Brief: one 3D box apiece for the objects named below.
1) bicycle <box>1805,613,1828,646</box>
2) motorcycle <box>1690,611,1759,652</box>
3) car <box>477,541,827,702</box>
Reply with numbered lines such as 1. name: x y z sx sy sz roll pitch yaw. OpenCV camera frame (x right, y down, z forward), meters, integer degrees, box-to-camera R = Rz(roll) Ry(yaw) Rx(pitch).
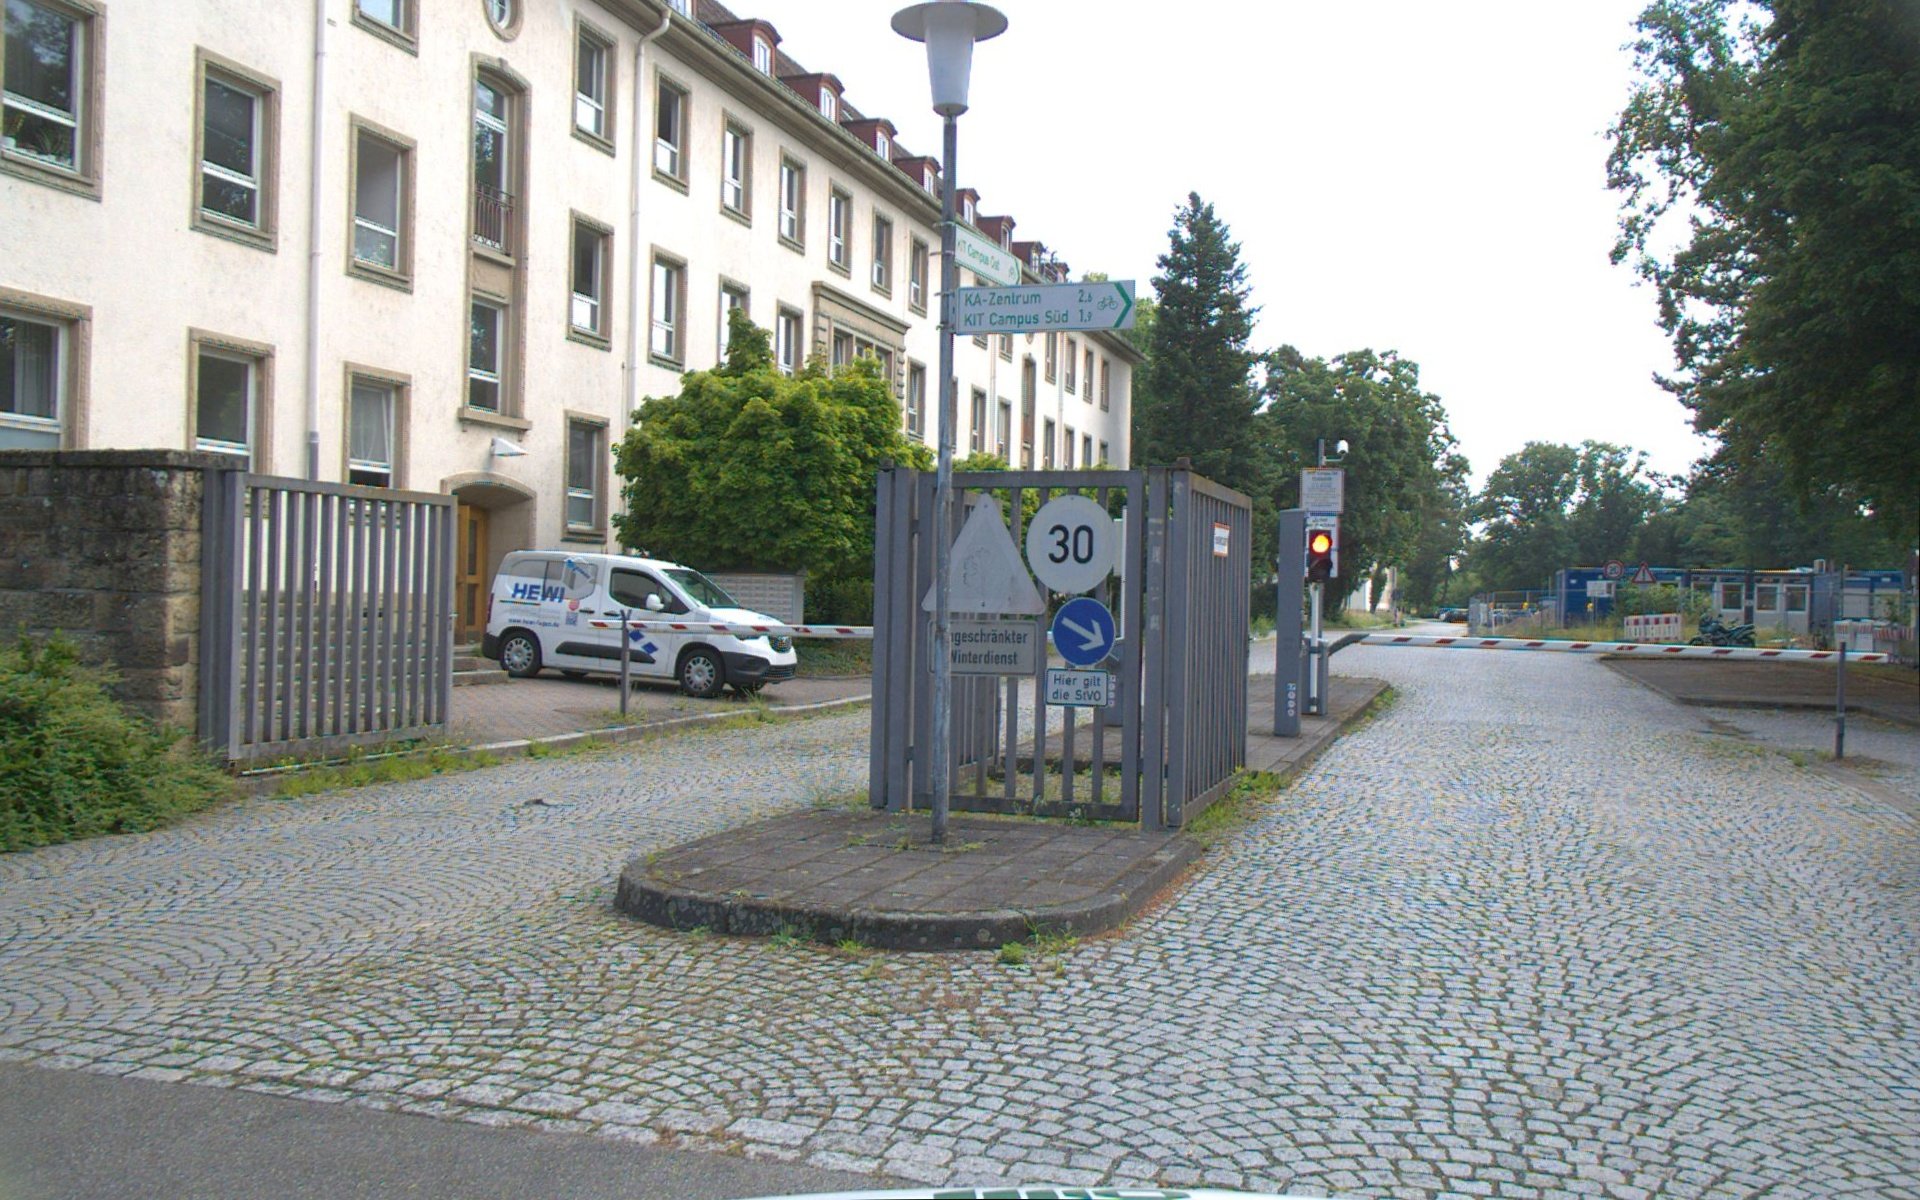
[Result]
1. bicycle: 27.380 0.952 52.879 0.325 1.025 1.726 0 -2 17
2. motorcycle: 24.163 0.997 52.295 1.915 1.215 0.462 -1 4 16
3. car: -4.283 0.259 23.183 4.344 1.781 1.860 5 2 15
